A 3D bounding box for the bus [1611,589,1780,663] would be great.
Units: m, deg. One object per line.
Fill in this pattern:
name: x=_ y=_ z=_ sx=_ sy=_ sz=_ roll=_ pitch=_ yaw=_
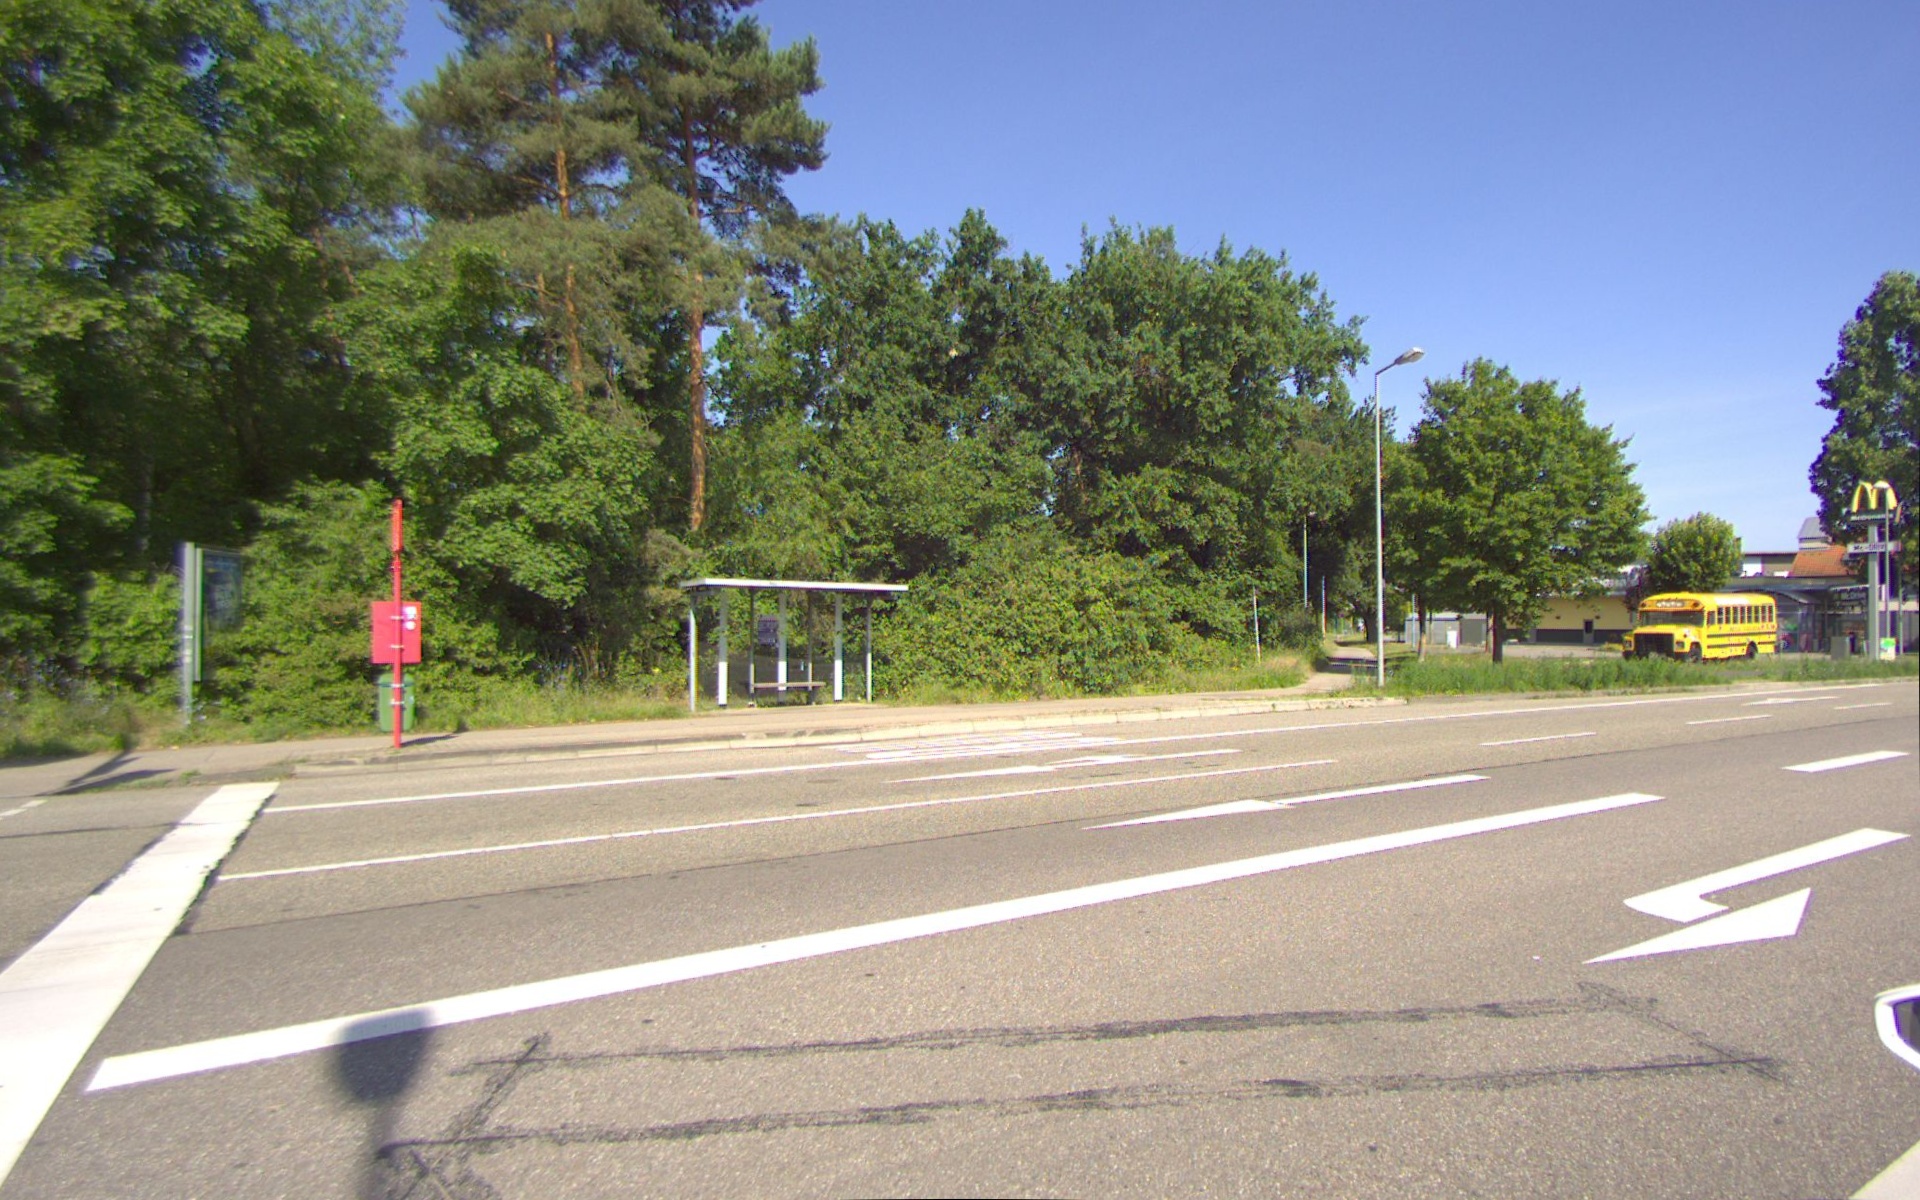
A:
bus: x=29.669 y=1.045 z=40.335 sx=8.903 sy=2.715 sz=2.563 roll=2 pitch=0 yaw=-34
